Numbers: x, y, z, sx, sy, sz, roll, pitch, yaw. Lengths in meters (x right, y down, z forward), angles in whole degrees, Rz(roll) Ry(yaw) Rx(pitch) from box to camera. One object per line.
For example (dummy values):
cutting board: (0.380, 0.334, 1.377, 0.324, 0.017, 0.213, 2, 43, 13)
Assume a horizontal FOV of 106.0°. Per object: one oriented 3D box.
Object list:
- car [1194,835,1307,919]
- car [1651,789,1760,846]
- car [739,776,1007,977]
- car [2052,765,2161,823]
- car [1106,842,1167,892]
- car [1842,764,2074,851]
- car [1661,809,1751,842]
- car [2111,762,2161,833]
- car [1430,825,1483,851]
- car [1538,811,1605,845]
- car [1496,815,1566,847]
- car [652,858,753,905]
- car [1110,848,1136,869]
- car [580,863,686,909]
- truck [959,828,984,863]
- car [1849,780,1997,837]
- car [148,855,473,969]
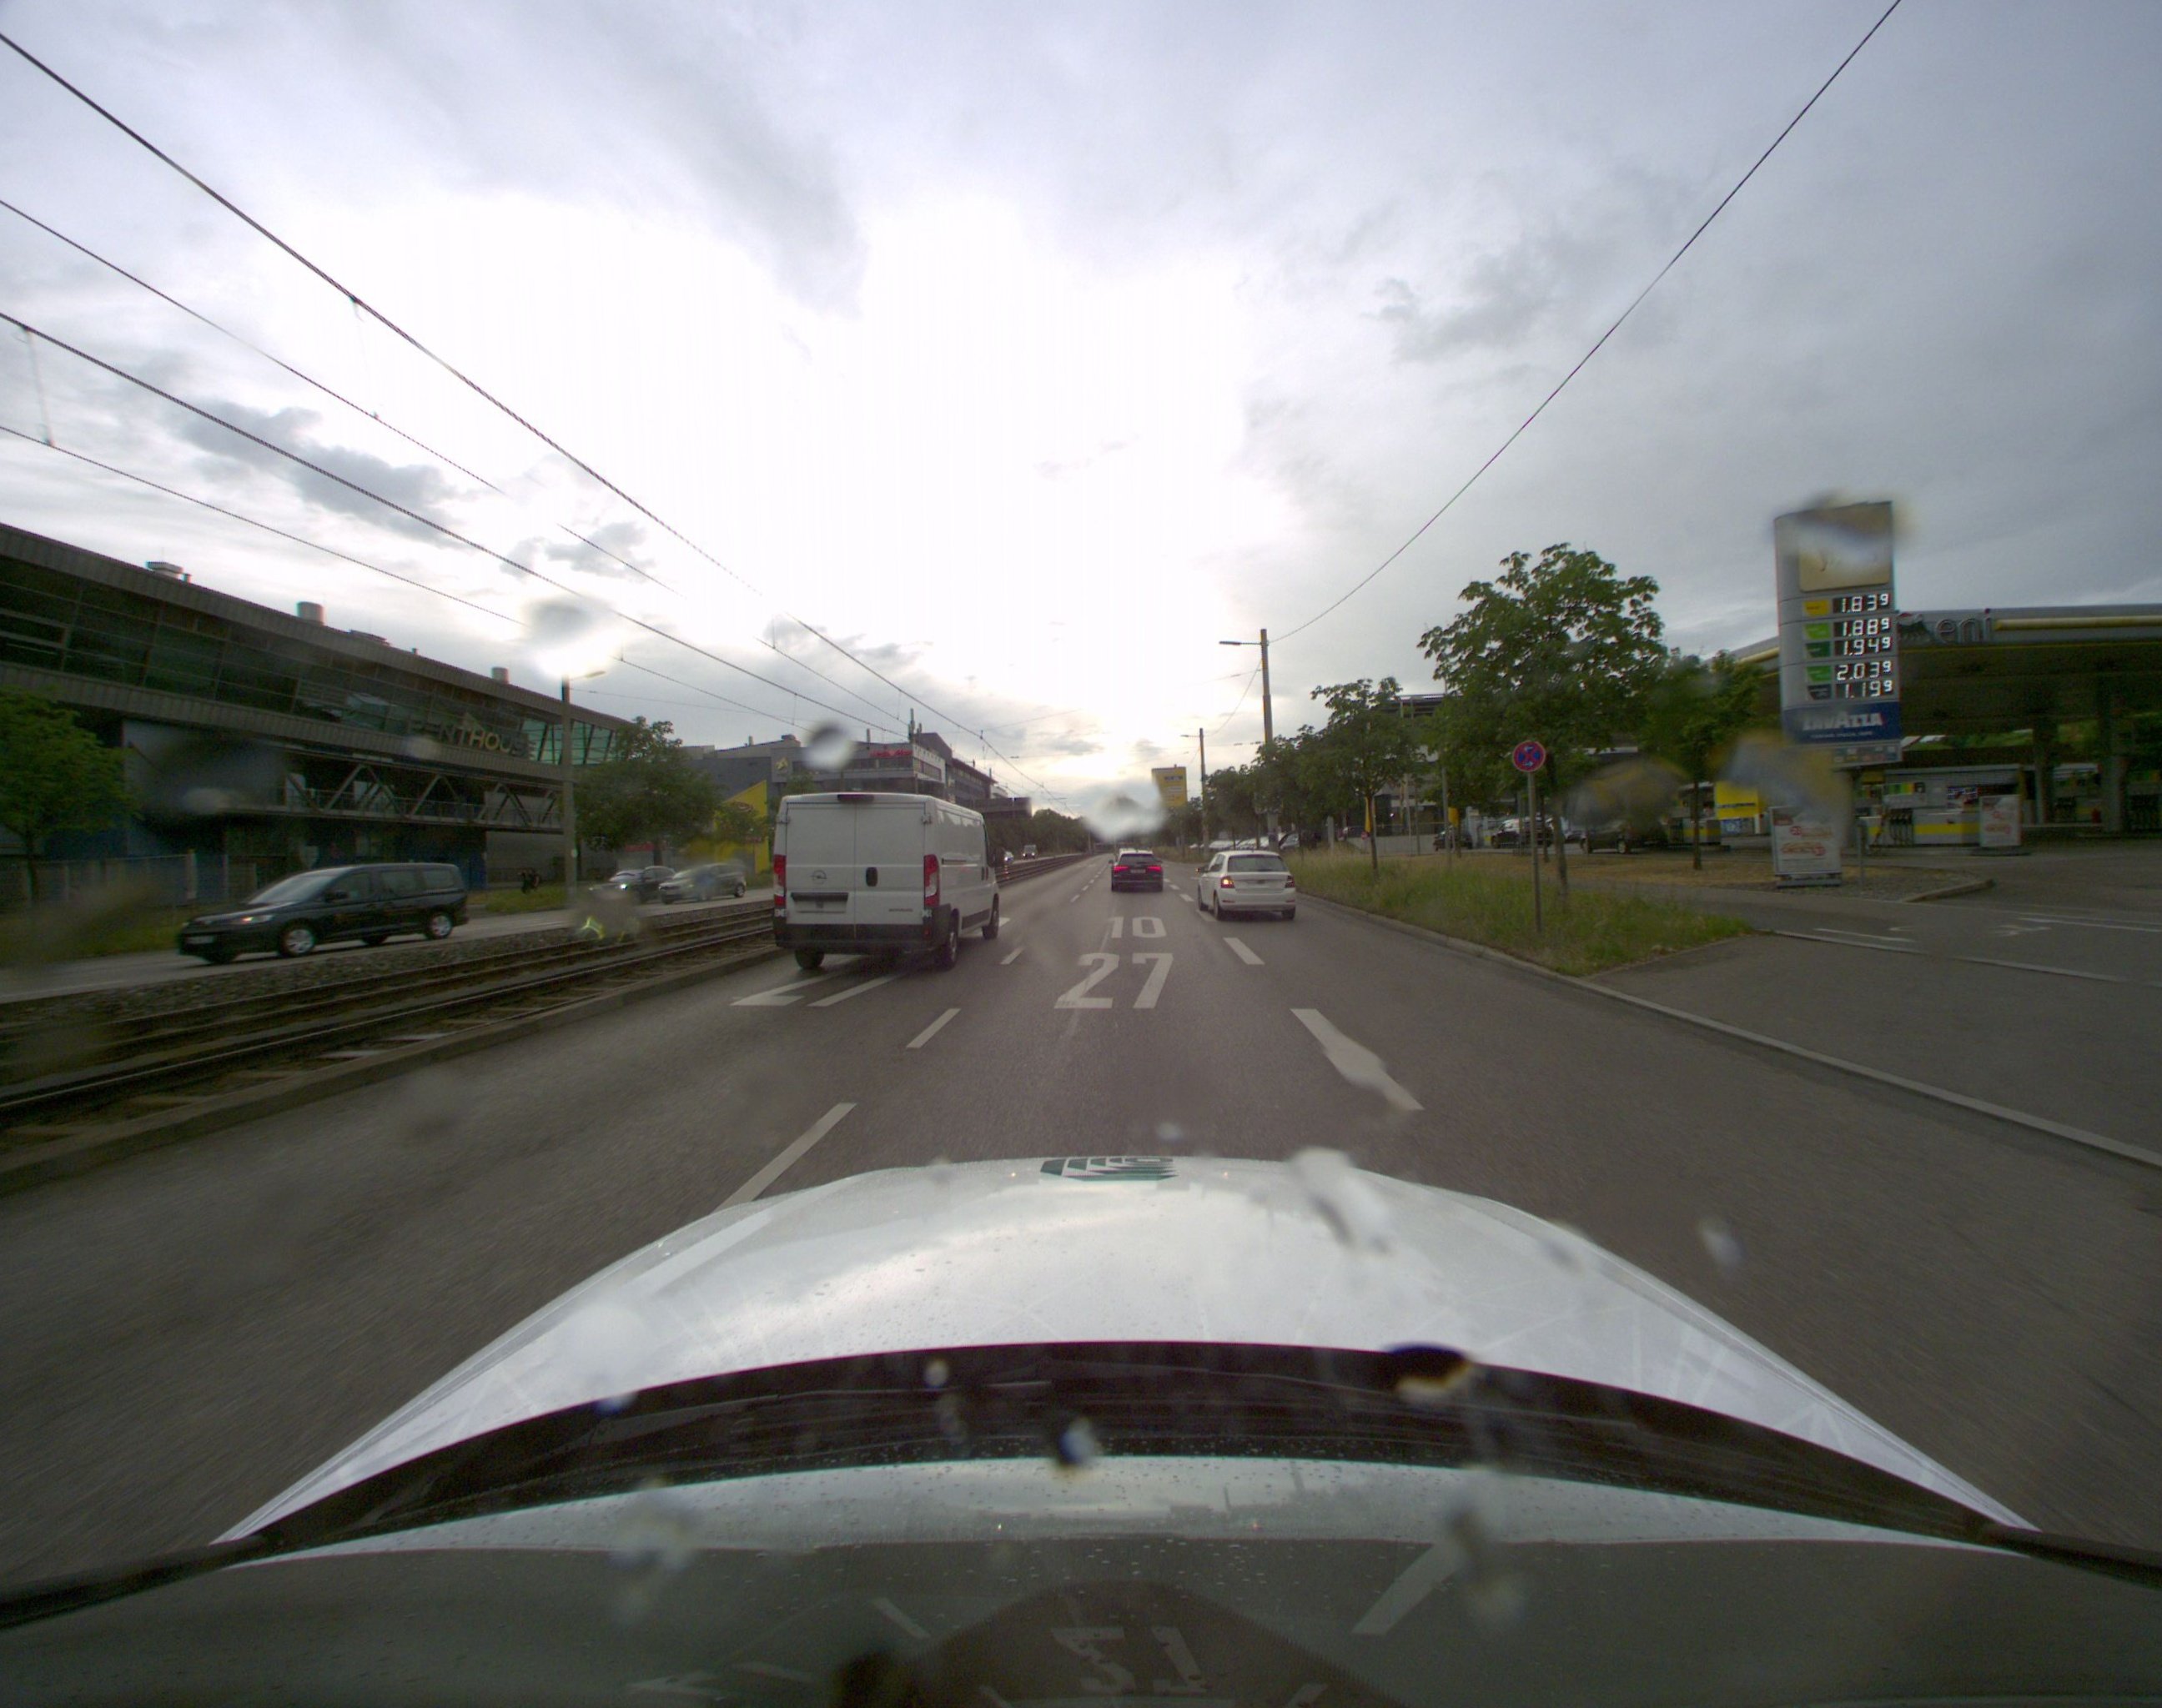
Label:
car: (3.708, 0.482, 18.458, 1.822, 1.656, 4.002, -1, -1, 2)
car: (23.927, -1.335, 31.378, 1.671, 2.014, 3.546, 0, 0, 4)
car: (-2.645, 0.237, 11.925, 2.435, 2.294, 4.908, 1, 1, 2)
car: (41.605, -2.325, 32.056, 1.988, 2.013, 3.998, 0, 0, -1)
car: (1.931, 0.452, 29.073, 1.986, 1.637, 4.002, -1, -1, 2)
car: (23.584, -1.156, 22.160, 1.986, 2.032, 4.002, -3, 0, 2)
car: (34.630, -1.550, 45.284, 1.986, 1.596, 4.002, -2, 0, 2)
car: (32.007, -1.662, 23.108, 1.668, 2.013, 3.140, 0, 0, 3)
car: (25.228, -1.053, 54.877, 1.784, 1.591, 4.002, -2, 0, 2)
car: (31.560, -1.646, 52.558, 1.986, 2.013, 4.002, -2, 0, 2)
car: (26.297, -1.301, 47.730, 1.986, 1.728, 4.002, -2, 0, 2)
car: (-16.231, 1.108, 35.237, 1.791, 1.784, 4.500, -2, 0, 6)
car: (3.276, 0.359, 62.606, 1.886, 1.465, 3.912, -2, -1, 3)
car: (-19.675, 1.349, 36.020, 1.791, 1.744, 4.500, -2, 0, 6)
truck: (-11.964, -0.917, 89.611, 2.154, 3.645, 6.866, 0, 0, -3)
car: (32.770, -1.727, 31.847, 1.864, 2.014, 3.772, 0, 0, -1)
car: (-15.582, 1.051, 16.944, 1.791, 1.928, 4.812, -2, 0, 6)
